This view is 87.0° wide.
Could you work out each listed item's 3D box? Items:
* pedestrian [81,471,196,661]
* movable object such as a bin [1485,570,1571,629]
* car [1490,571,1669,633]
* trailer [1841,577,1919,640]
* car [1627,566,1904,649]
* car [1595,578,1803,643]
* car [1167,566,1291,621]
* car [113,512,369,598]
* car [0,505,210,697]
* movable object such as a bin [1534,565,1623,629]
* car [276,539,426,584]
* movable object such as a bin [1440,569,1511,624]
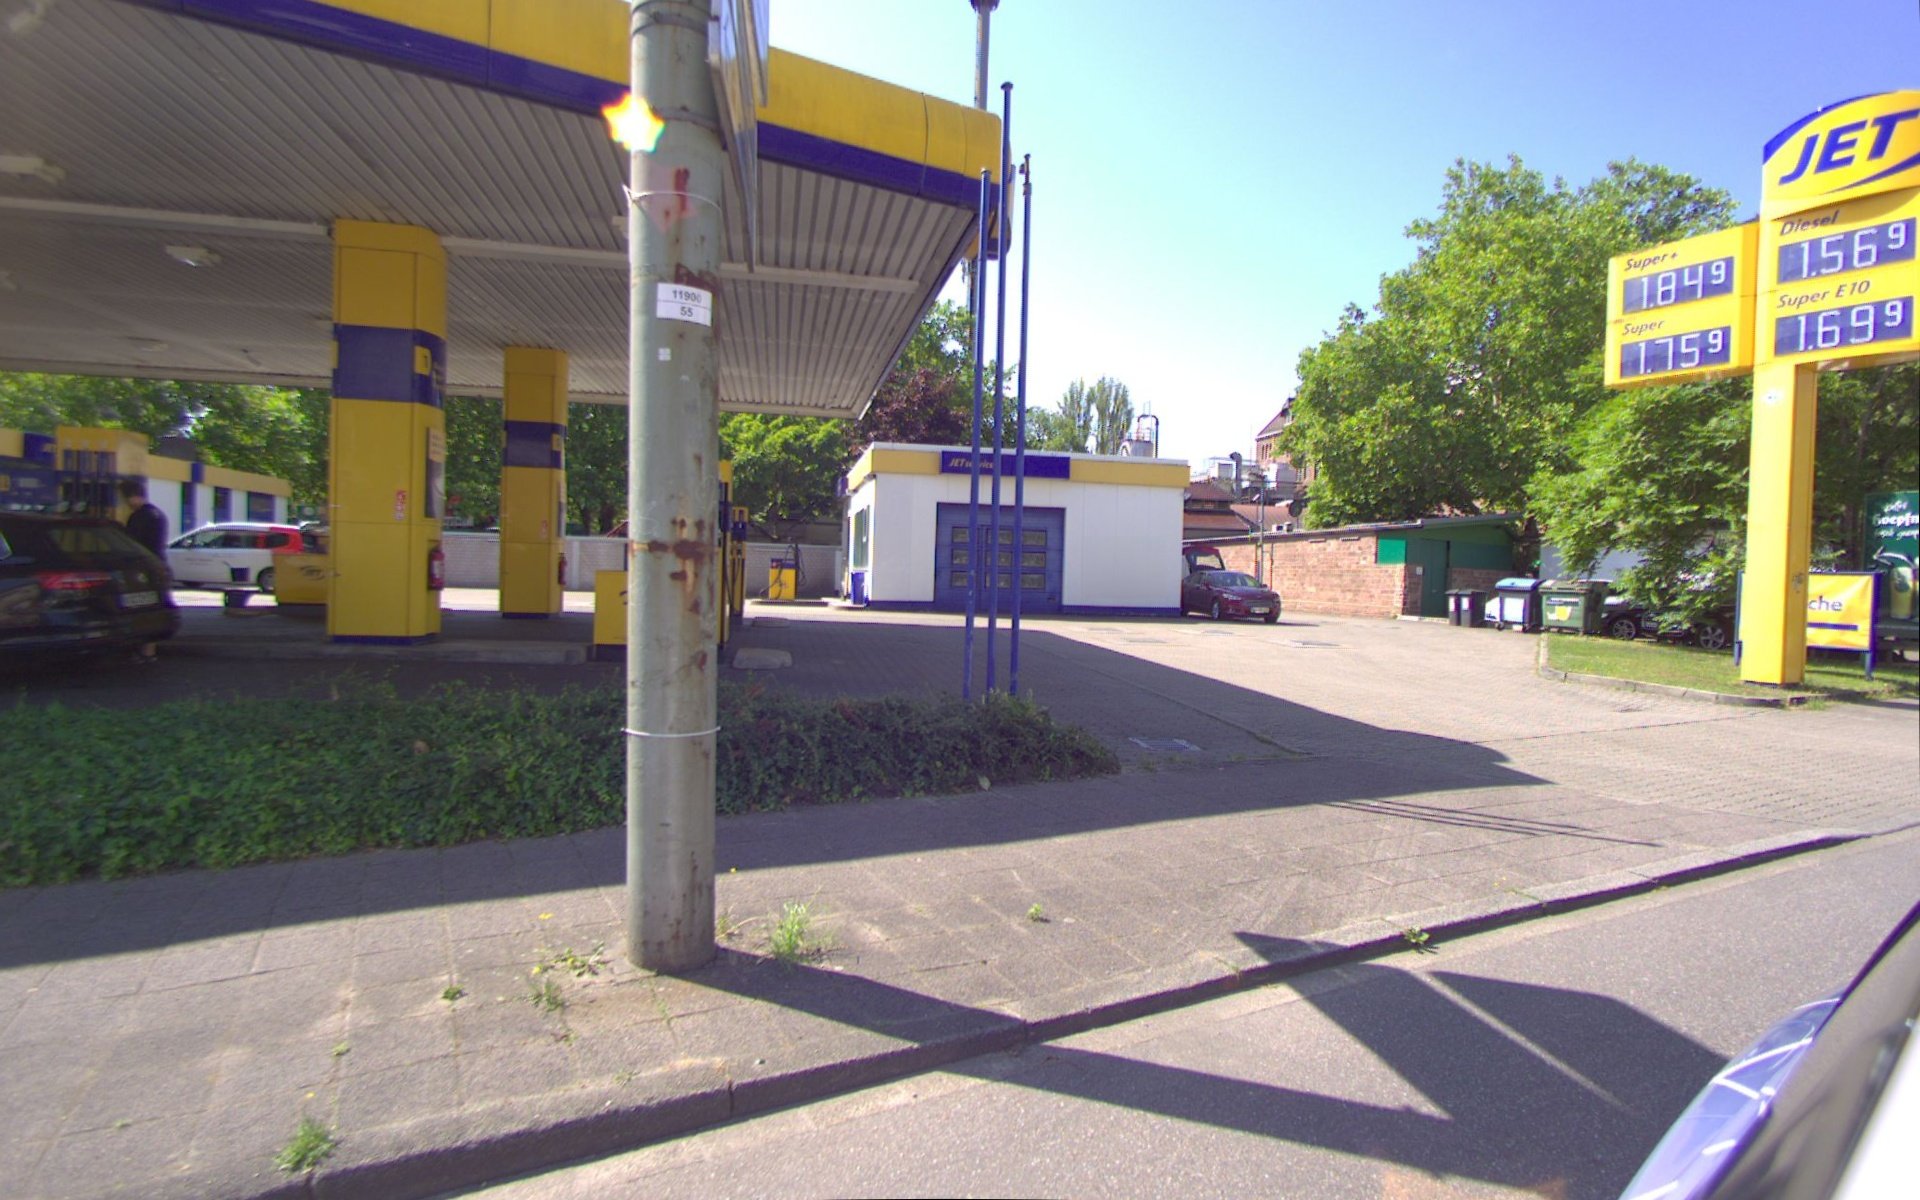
[{"bbox_3d":[-7.947,-0.326,9.824,0.730,1.747,0.859,1,2,-31],"label":"pedestrian"},{"bbox_3d":[15.302,-0.028,27.309,1.350,1.521,1.425,1,1,-18],"label":"movable object such as a bin"},{"bbox_3d":[17.925,0.019,29.465,3.935,1.576,1.843,2,2,10],"label":"car"},{"bbox_3d":[26.316,0.274,27.420,1.690,1.623,3.288,1,2,-33],"label":"trailer"},{"bbox_3d":[18.726,0.115,23.771,4.584,1.661,2.015,2,2,10],"label":"car"},{"bbox_3d":[19.310,0.242,26.635,3.935,1.492,1.842,2,1,10],"label":"car"},{"bbox_3d":[7.837,-0.241,29.936,1.854,1.478,4.565,0,2,-8],"label":"car"},{"bbox_3d":[-18.762,-1.157,26.659,5.195,2.007,1.766,2,2,-14],"label":"car"},{"bbox_3d":[-9.176,-0.071,8.457,4.318,1.472,1.766,1,5,-10],"label":"car"},{"bbox_3d":[15.609,-0.087,25.554,1.352,1.521,1.424,1,1,-31],"label":"movable object such as a bin"},{"bbox_3d":[-20.906,-1.335,34.896,4.046,1.377,1.765,2,2,-12],"label":"car"},{"bbox_3d":[14.827,-0.107,29.156,1.304,1.521,1.331,1,0,-5],"label":"movable object such as a bin"}]
